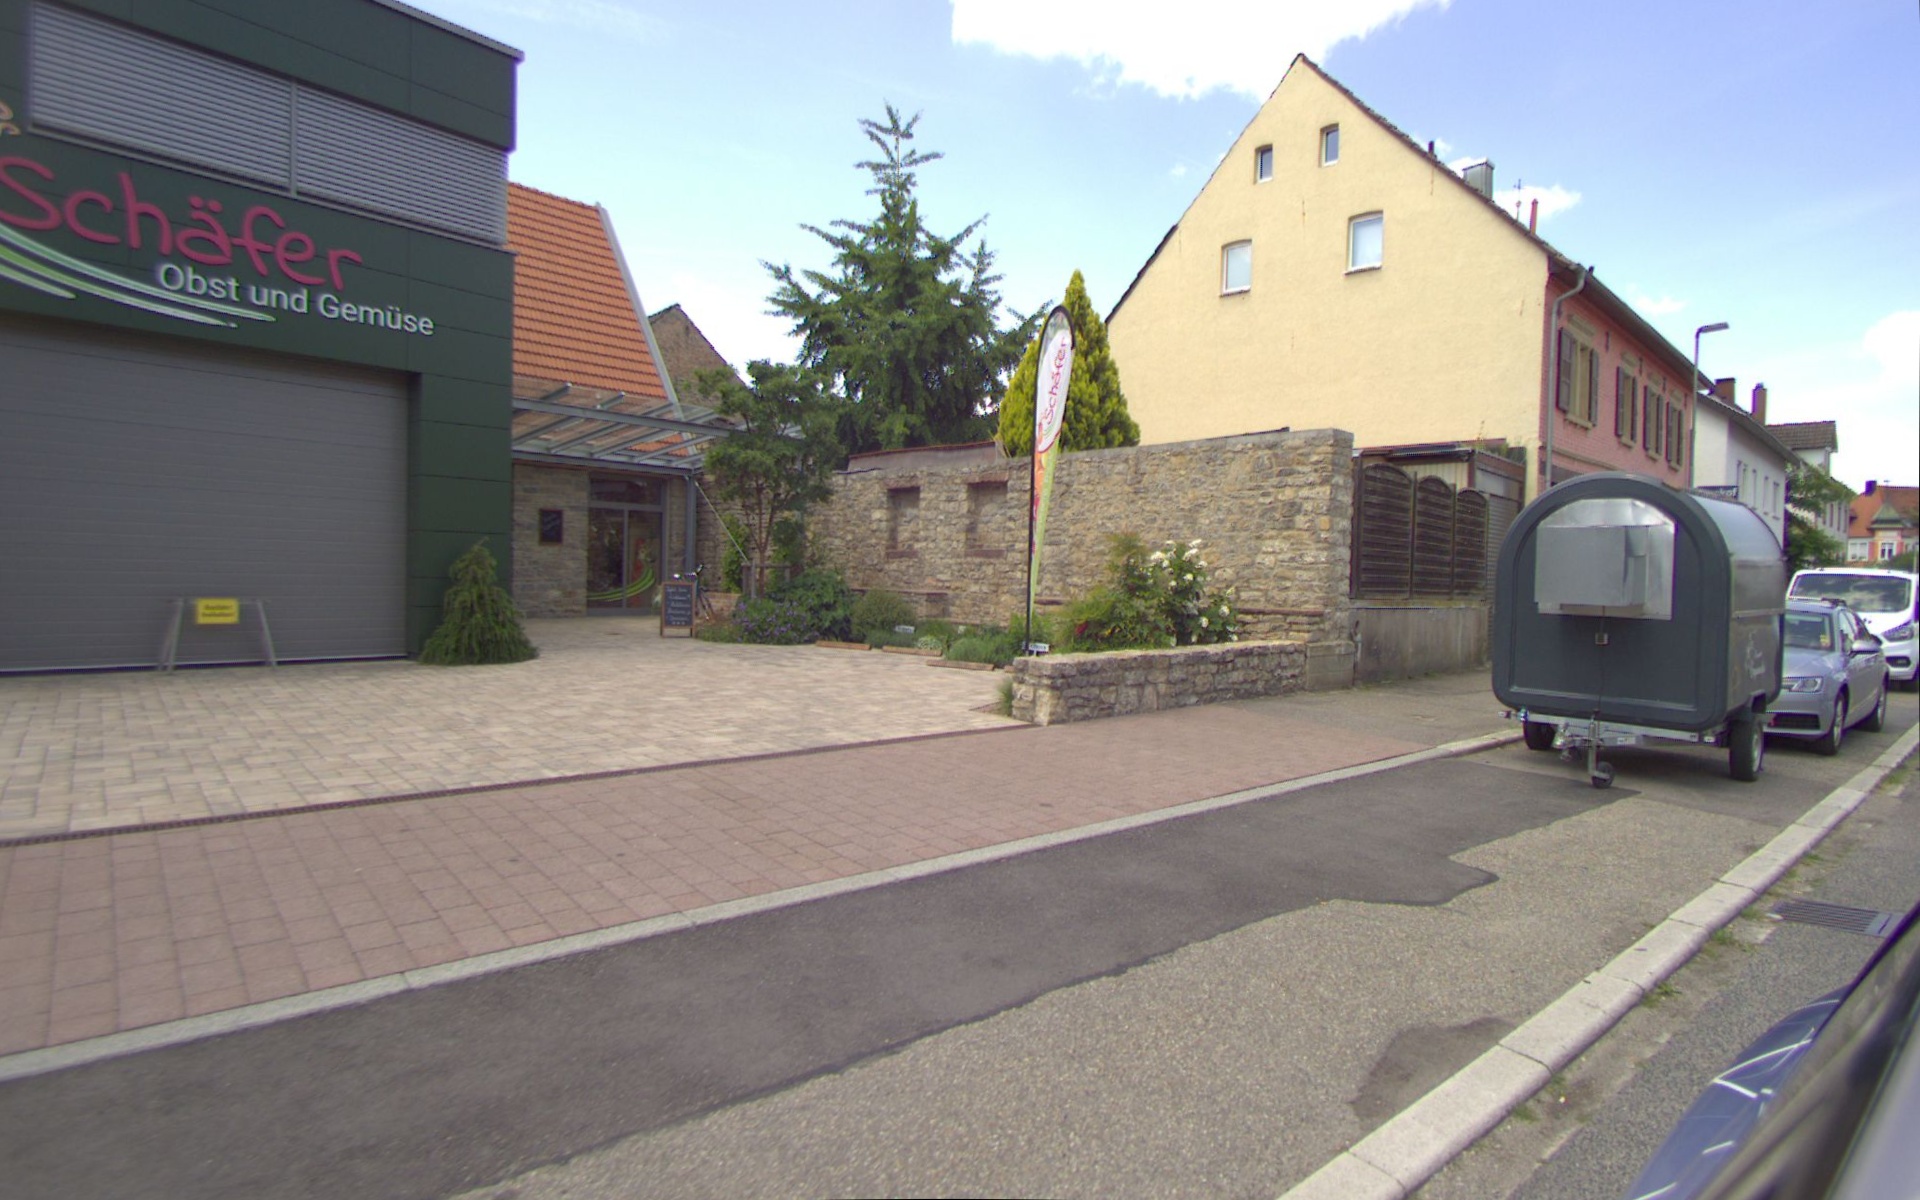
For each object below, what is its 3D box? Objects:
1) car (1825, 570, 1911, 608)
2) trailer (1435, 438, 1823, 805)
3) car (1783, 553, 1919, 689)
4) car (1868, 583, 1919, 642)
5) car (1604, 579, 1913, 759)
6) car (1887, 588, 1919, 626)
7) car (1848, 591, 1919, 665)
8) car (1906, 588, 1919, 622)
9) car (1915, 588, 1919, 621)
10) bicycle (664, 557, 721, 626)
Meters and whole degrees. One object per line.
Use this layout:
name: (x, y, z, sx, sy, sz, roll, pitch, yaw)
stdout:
car: (76.840, -0.909, 85.667, 6.966, 2.999, 2.768, 0, 3, -25)
trailer: (5.683, 0.101, 8.450, 3.529, 2.383, 1.848, 0, 2, -43)
car: (16.054, 0.293, 17.787, 1.894, 2.006, 4.851, 6, 5, 44)
car: (29.629, 0.379, 31.192, 4.249, 1.701, 1.997, 0, 3, -42)
car: (8.868, 0.584, 11.080, 4.594, 1.500, 1.879, 0, 3, -42)
car: (41.428, 0.385, 42.468, 3.199, 1.523, 1.814, 4, 2, 22)
car: (21.796, 0.606, 23.091, 4.090, 1.513, 1.778, 0, 4, -42)
car: (47.910, 0.329, 48.664, 1.697, 1.596, 3.383, 0, 3, -42)
car: (49.987, 0.338, 50.091, 1.821, 1.595, 3.852, -3, 6, -45)
bicycle: (-5.158, -0.179, 19.613, 0.591, 1.260, 1.746, 1, 1, 1)
